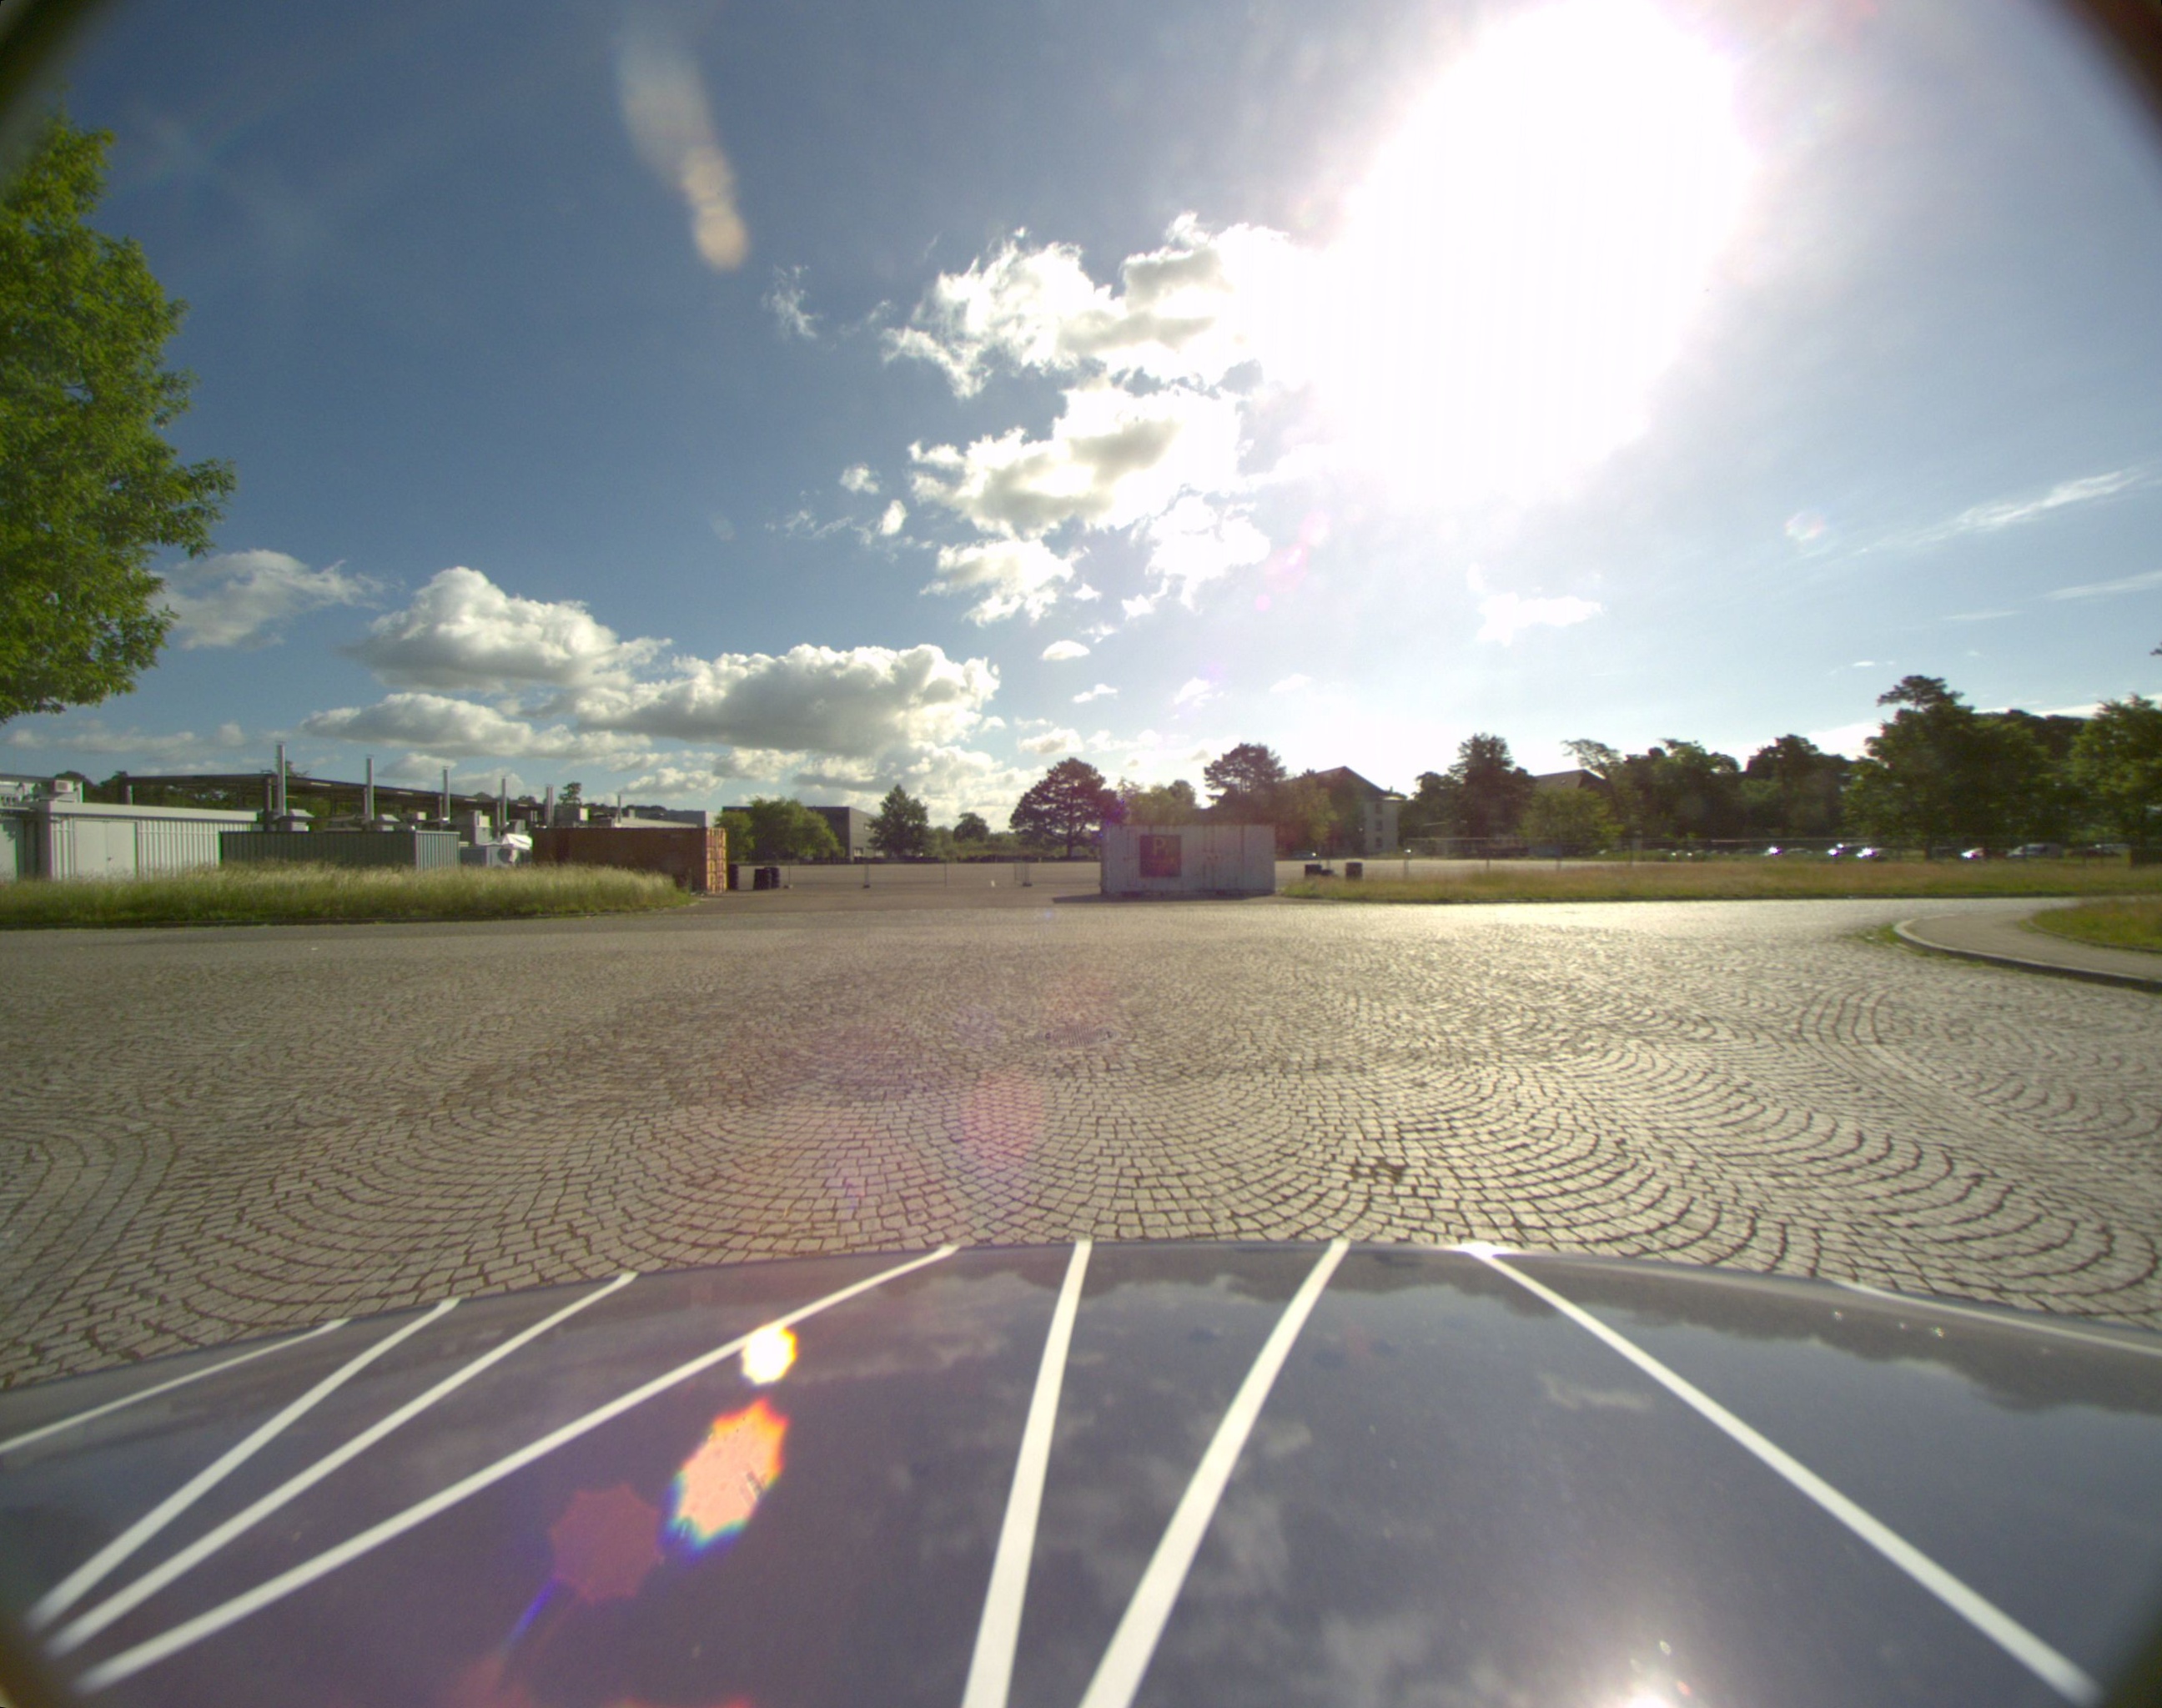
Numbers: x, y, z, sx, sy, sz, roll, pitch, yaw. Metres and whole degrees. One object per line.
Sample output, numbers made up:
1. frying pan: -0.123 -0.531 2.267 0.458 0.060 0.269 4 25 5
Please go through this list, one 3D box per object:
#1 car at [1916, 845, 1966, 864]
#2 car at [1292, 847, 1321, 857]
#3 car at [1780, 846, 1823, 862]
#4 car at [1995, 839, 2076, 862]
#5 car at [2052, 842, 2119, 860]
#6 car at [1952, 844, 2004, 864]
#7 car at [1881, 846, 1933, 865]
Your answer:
1. car: 90.480 0.029 79.936 3.619 2.002 1.741 0 1 -8
2. car: 36.519 -0.384 122.954 4.001 1.573 1.998 -1 1 -11
3. car: 89.009 0.008 93.844 3.850 2.002 1.742 0 1 -6
4. car: 92.366 -0.302 73.549 6.033 2.001 1.999 -2 -1 -7
5. car: 92.139 -0.287 69.705 4.000 1.642 1.998 0 1 -8
6. car: 91.151 -0.037 77.194 3.619 2.002 1.741 0 1 -8
7. car: 91.339 0.167 84.010 4.000 2.002 1.998 0 1 -9
